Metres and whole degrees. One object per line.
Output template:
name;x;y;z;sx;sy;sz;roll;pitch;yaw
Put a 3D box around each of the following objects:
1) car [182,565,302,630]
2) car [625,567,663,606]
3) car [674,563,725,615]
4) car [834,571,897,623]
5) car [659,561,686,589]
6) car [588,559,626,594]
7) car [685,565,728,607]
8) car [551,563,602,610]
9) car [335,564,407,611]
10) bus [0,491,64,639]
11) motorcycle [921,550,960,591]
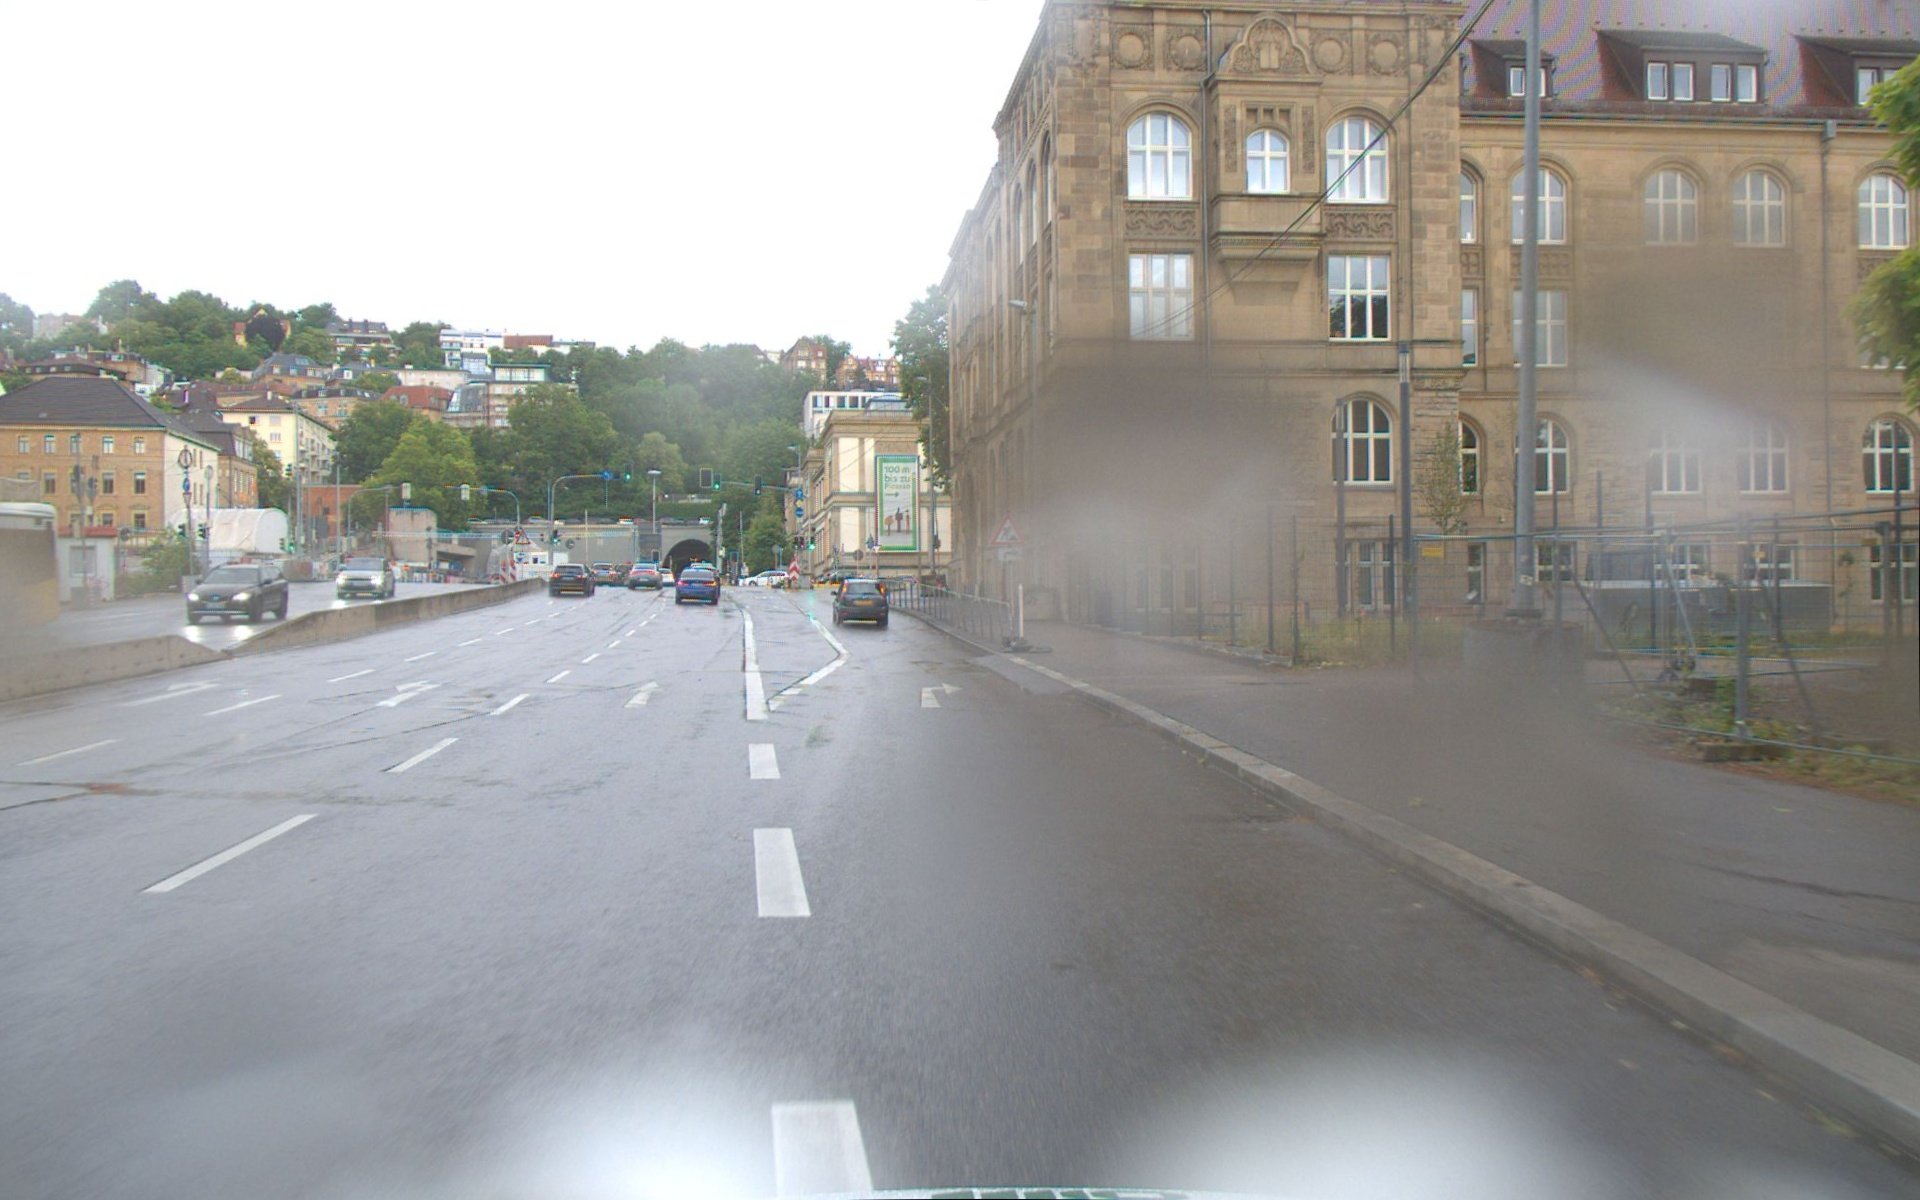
car;-20.270;-0.035;46.911;2.002;1.691;4.920;-1;-1;-10
car;-18.169;-0.751;95.170;2.014;2.049;3.990;-1;-1;-10
car;-11.209;-0.447;71.314;2.066;2.086;3.991;-1;-1;-9
car;-3.091;-0.064;53.322;1.778;1.553;3.994;-2;-1;-7
car;-22.797;-1.943;130.915;1.959;2.049;3.988;-1;0;-12
car;-22.548;-1.482;105.818;1.955;2.049;3.994;-1;-1;-6
car;-13.007;-0.692;84.953;1.740;2.049;3.997;-1;-1;-3
car;-18.015;-0.620;77.751;1.979;2.049;3.991;-1;-1;-9
car;-24.845;-0.506;69.957;1.957;1.786;5.286;-1;-1;-10
bus;-21.943;-0.742;34.592;2.653;3.206;9.131;-1;0;-9
motorcycle;-1.034;-1.538;85.438;1.760;2.048;3.809;-1;1;-5
